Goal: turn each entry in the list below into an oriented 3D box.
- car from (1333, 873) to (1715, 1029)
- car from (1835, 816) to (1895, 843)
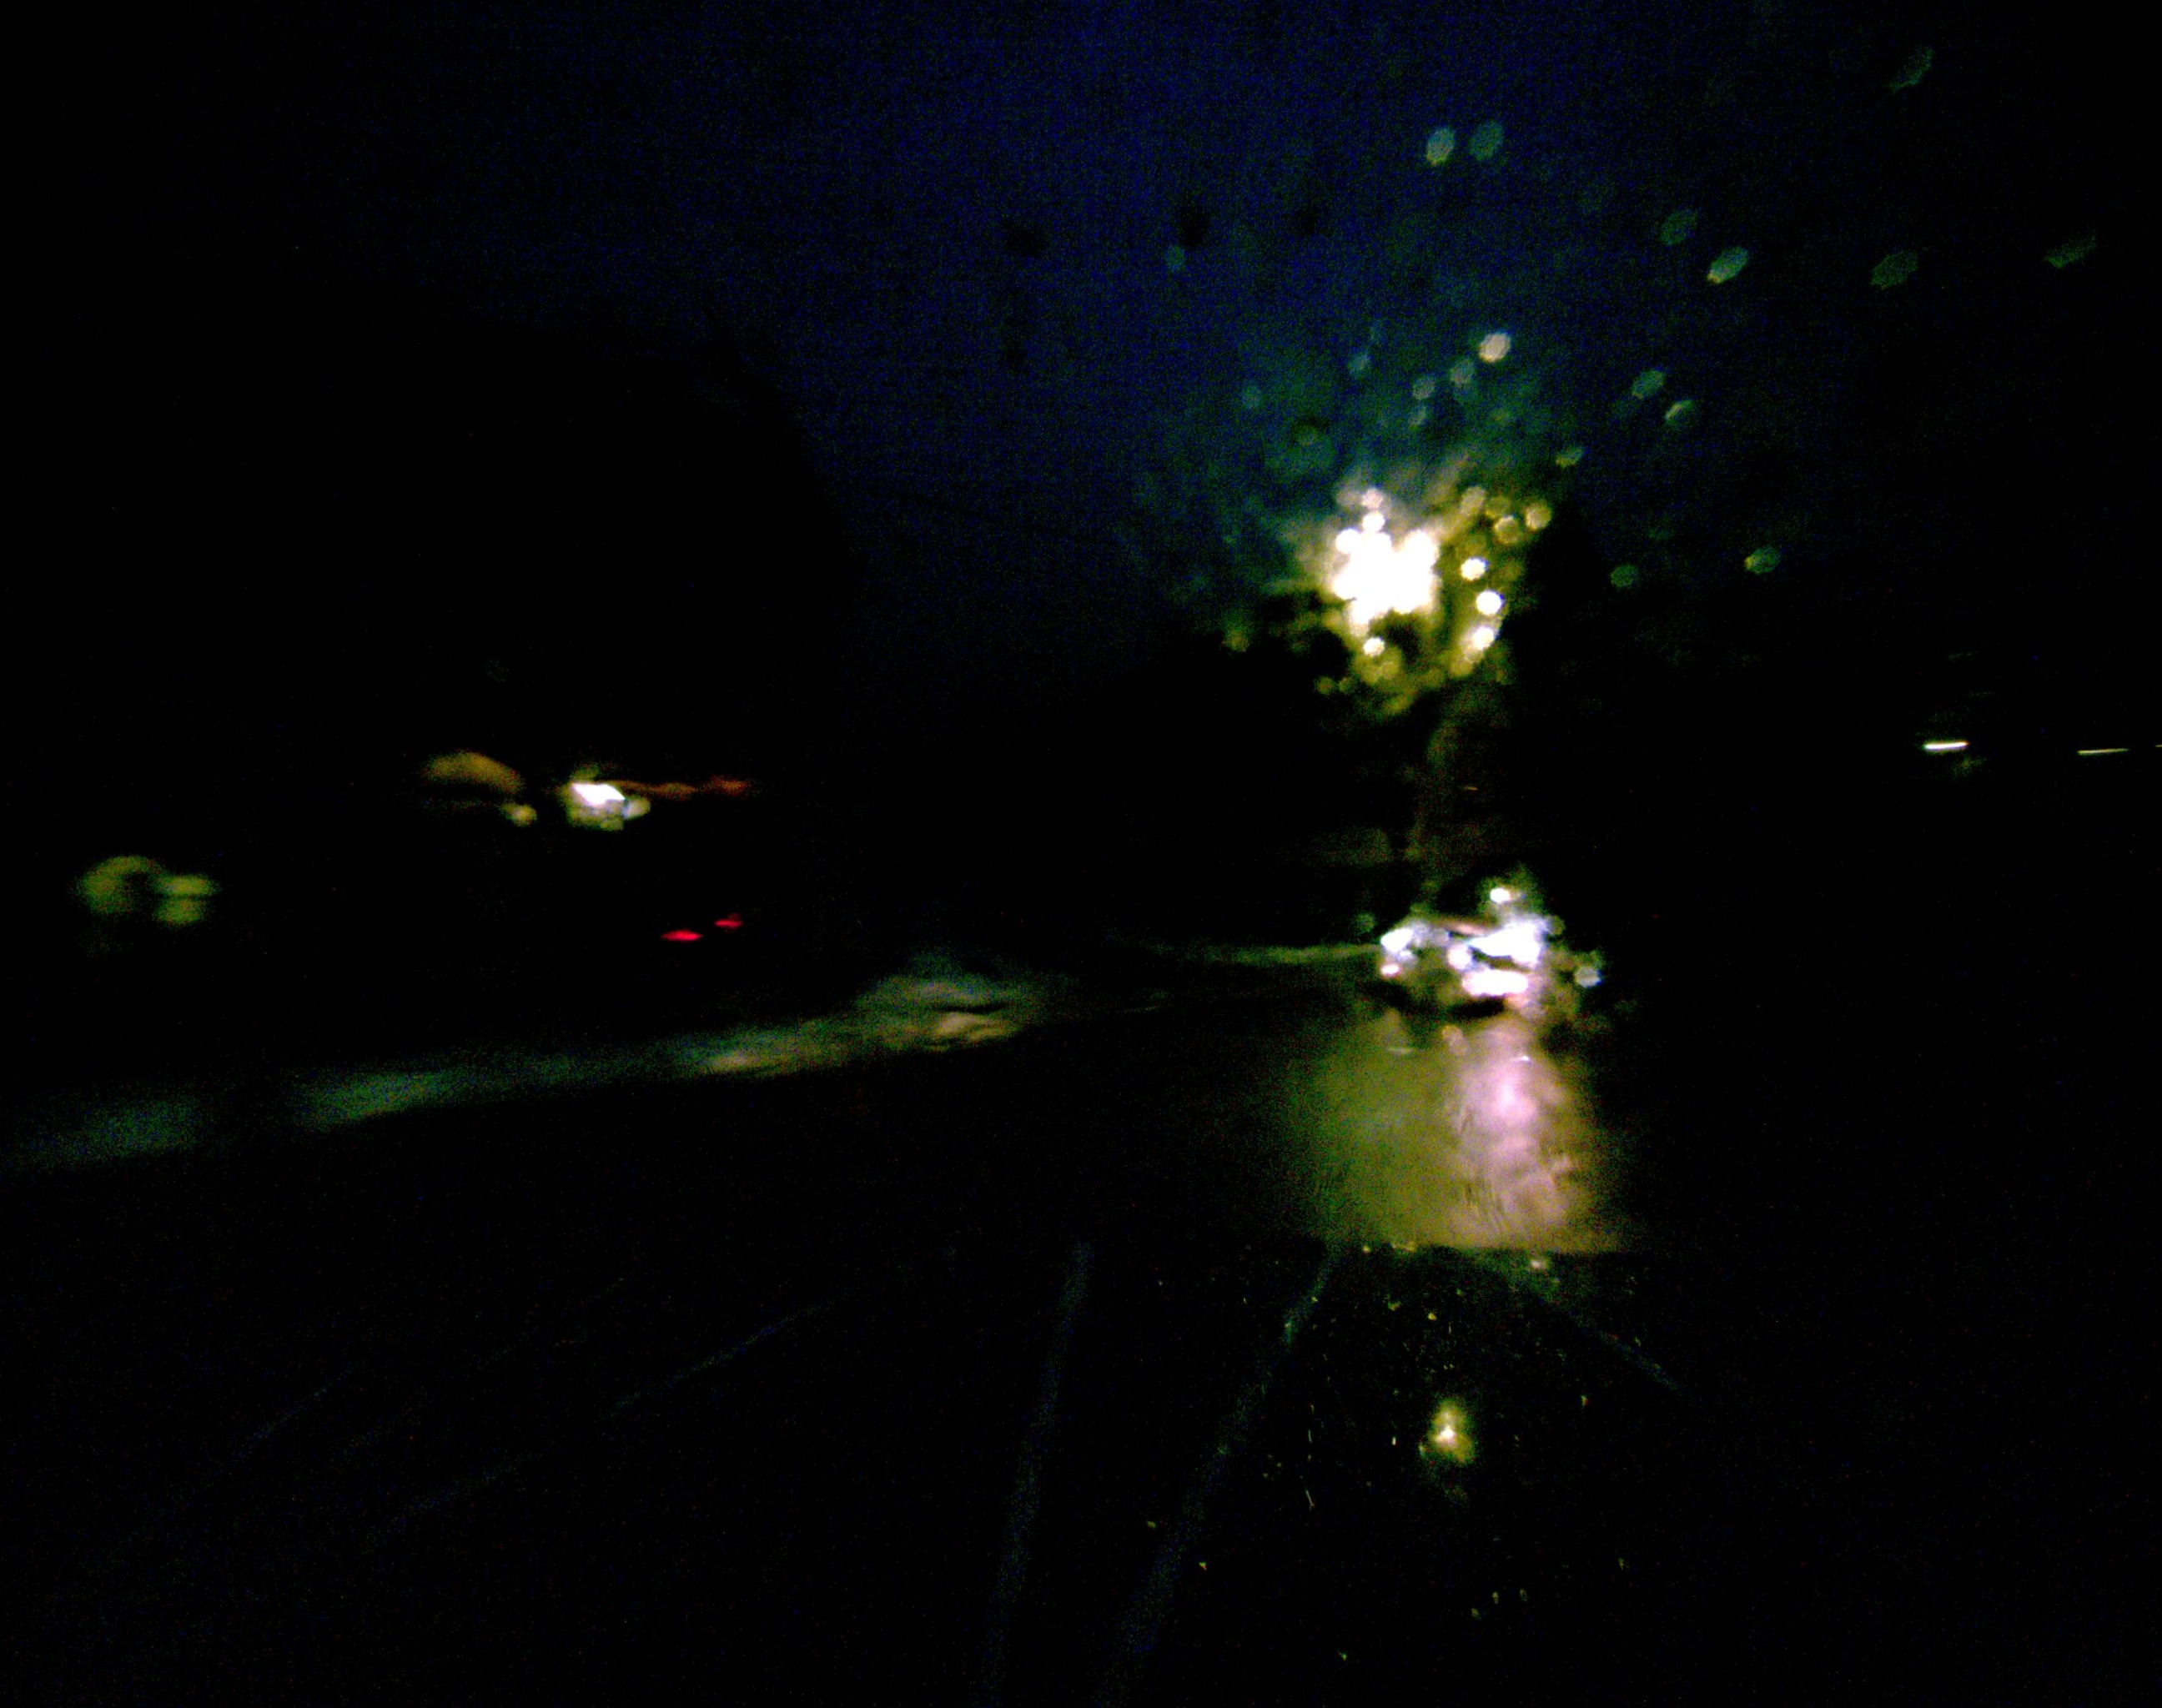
[{"bbox_3d":[5.538,0.965,9.282,4.942,1.373,1.995,0,-1,-33],"label":"car"},{"bbox_3d":[50.905,-1.629,49.425,1.751,1.405,4.087,-4,2,32],"label":"car"}]
